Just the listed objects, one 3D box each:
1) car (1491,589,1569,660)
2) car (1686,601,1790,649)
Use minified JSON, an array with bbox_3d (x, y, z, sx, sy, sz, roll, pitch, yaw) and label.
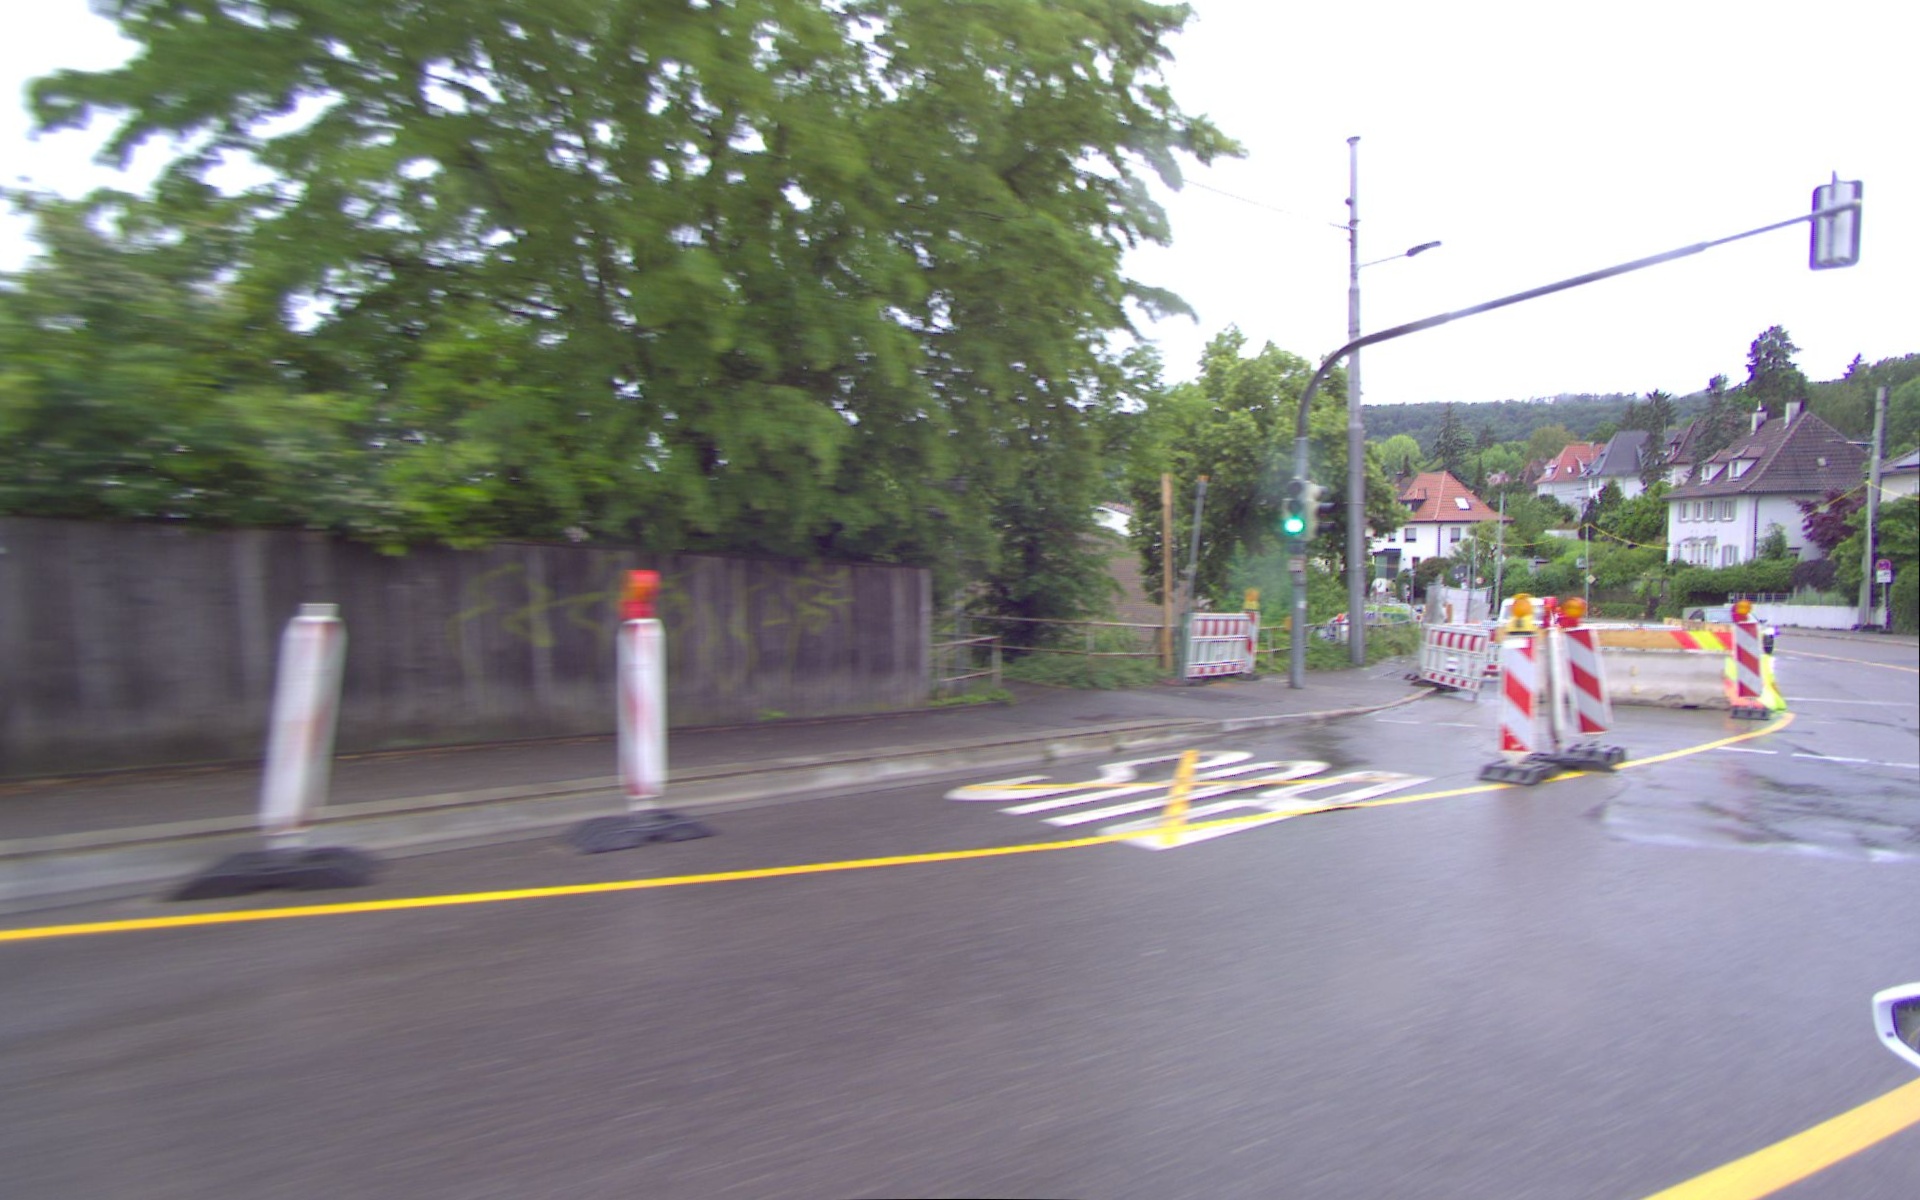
[{"bbox_3d":[19.035,0.734,33.667,1.964,2.041,4.798,5,3,29],"label":"car"},{"bbox_3d":[26.081,0.785,33.834,1.755,1.422,4.362,1,1,24],"label":"car"}]
